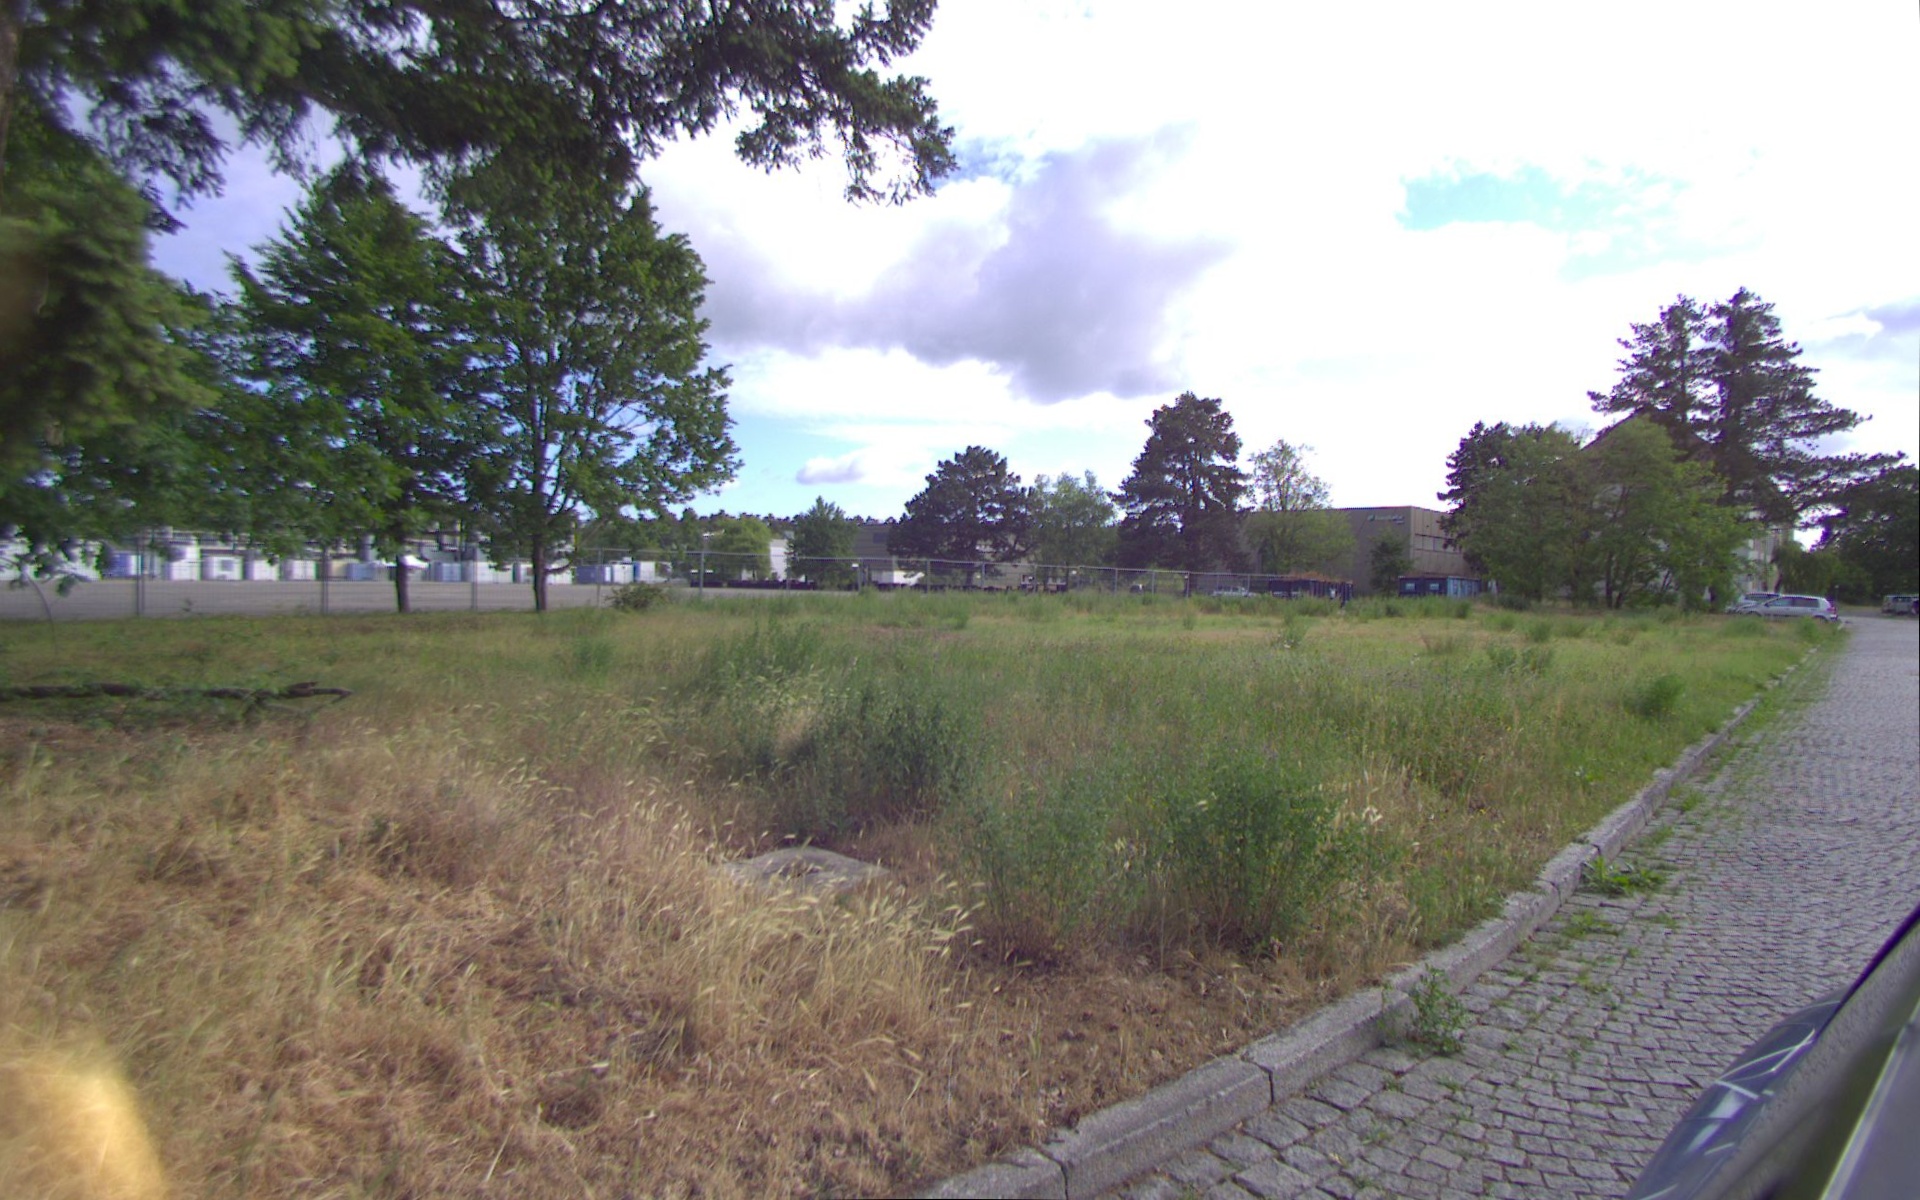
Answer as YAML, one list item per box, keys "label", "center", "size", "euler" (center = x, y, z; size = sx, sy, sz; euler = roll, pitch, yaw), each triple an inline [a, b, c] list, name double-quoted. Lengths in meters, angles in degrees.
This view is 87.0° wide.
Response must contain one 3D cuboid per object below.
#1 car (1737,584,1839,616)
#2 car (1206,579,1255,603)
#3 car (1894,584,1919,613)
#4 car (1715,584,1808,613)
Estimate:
- label: "car"
  center: [39.490, 0.007, 48.346]
  size: [3.713, 1.456, 1.604]
  euler: [-1, 1, 40]
- label: "car"
  center: [23.266, -0.776, 87.117]
  size: [3.702, 1.928, 1.999]
  euler: [2, 0, 3]
- label: "car"
  center: [89.884, -0.186, 92.889]
  size: [5.767, 2.595, 2.732]
  euler: [-2, 0, 38]
- label: "car"
  center: [41.993, -0.080, 53.132]
  size: [3.708, 1.456, 1.606]
  euler: [-1, 0, 36]
